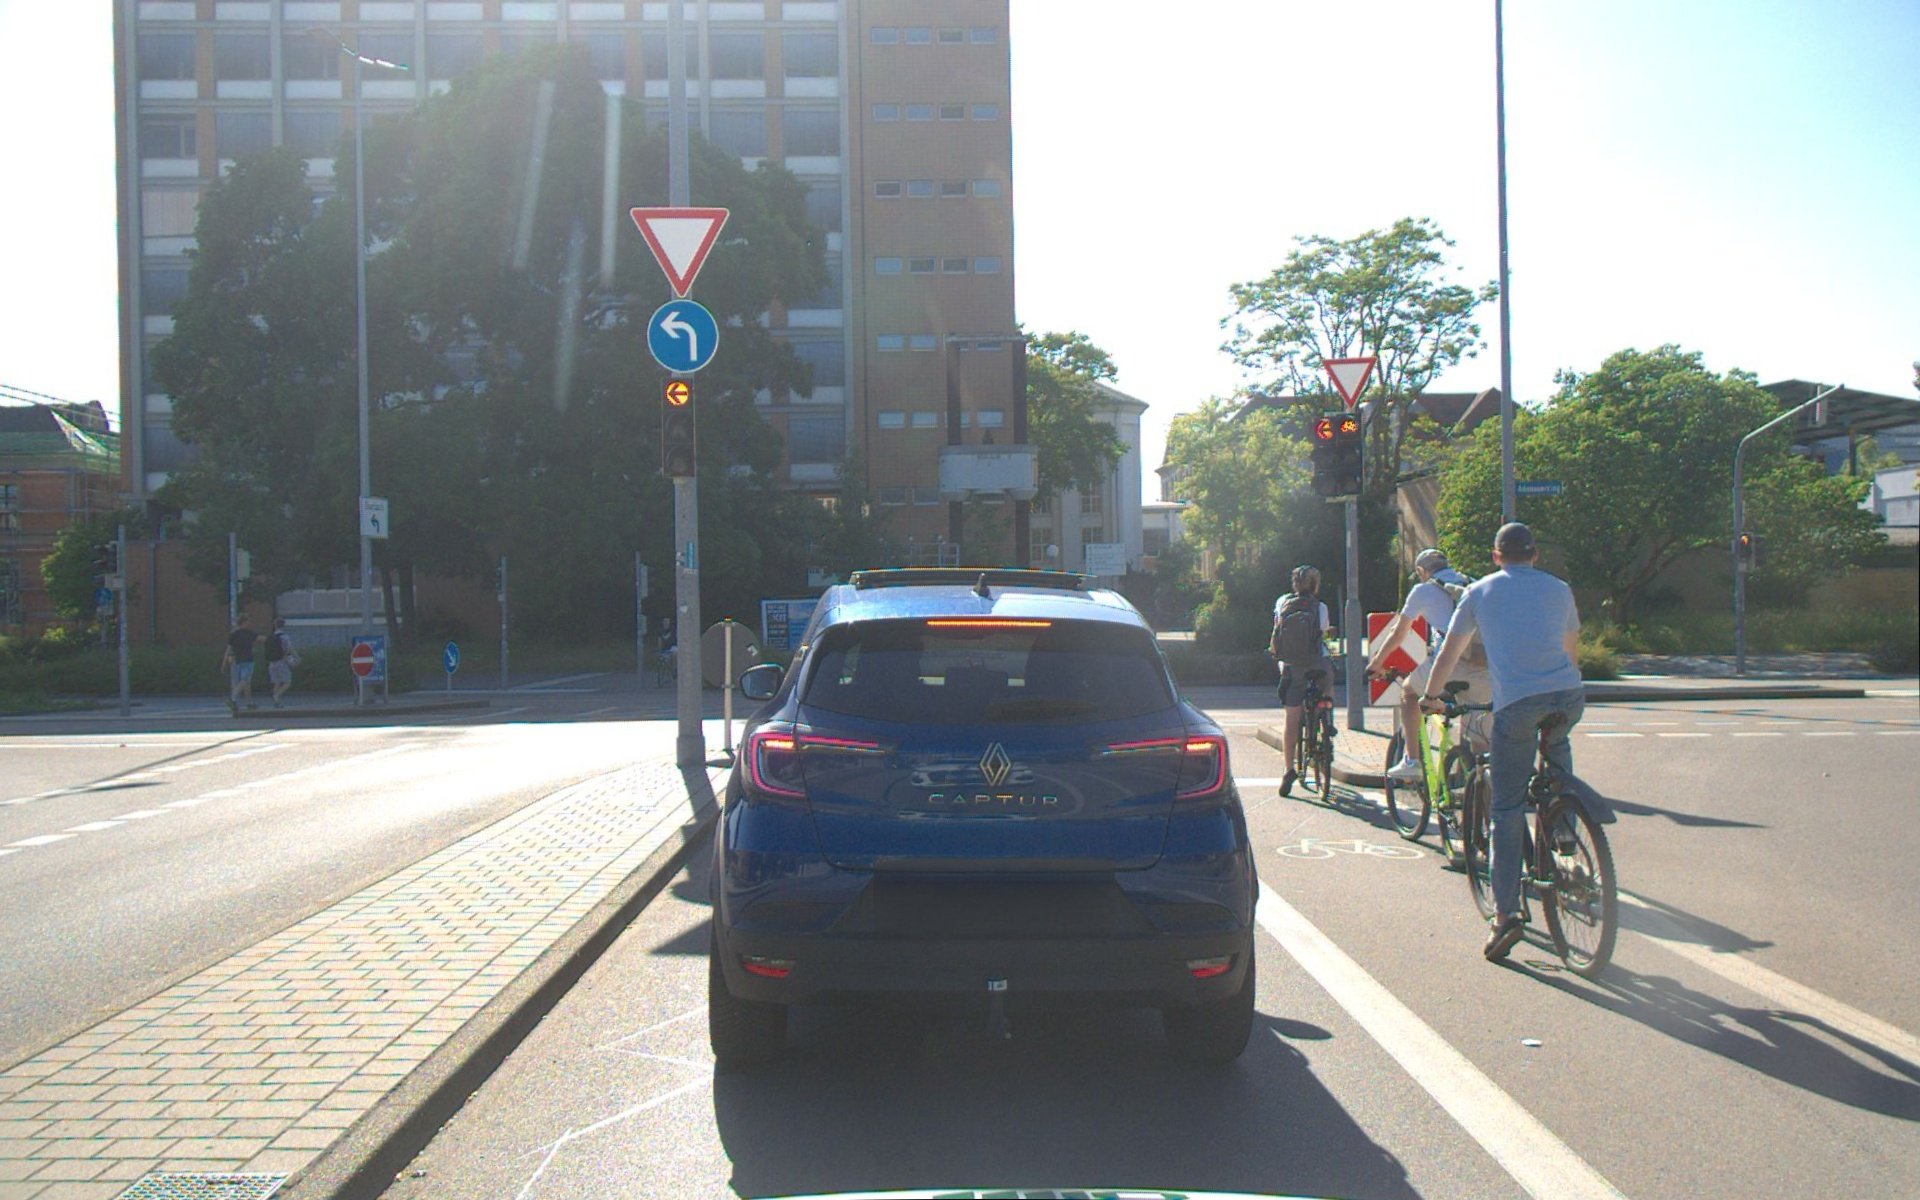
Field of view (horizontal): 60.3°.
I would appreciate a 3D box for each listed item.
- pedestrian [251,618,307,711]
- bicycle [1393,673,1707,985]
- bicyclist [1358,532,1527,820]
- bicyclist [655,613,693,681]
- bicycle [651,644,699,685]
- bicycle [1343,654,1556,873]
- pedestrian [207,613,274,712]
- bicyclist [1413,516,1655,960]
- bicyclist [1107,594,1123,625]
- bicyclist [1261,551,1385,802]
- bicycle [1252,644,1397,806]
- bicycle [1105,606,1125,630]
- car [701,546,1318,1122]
[{"bbox_3d":[-13.159,1.240,31.980,0.666,1.761,0.761,-1,0,13],"label":"pedestrian"},{"bbox_3d":[2.510,0.918,7.286,0.675,1.108,1.922,0,0,-1],"label":"bicycle"},{"bbox_3d":[2.865,0.430,9.915,0.664,1.622,1.142,0,0,-1],"label":"bicyclist"},{"bbox_3d":[-7.542,1.240,43.663,0.739,1.746,0.999,-1,0,5],"label":"bicyclist"},{"bbox_3d":[-7.524,1.696,43.766,0.739,1.002,2.095,-1,0,5],"label":"bicycle"},{"bbox_3d":[2.850,0.908,9.834,0.675,1.108,1.922,0,0,-1],"label":"bicycle"},{"bbox_3d":[-14.010,1.207,32.234,0.796,1.895,0.910,-1,0,13],"label":"pedestrian"},{"bbox_3d":[2.512,0.566,7.363,0.669,1.822,1.142,0,0,-1],"label":"bicyclist"},{"bbox_3d":[7.655,0.458,81.546,0.680,1.507,0.717,-1,0,-2],"label":"bicyclist"},{"bbox_3d":[2.749,0.558,12.612,0.685,1.822,1.142,0,0,-1],"label":"bicyclist"},{"bbox_3d":[2.775,0.922,12.792,0.675,1.108,1.922,0,0,-1],"label":"bicycle"},{"bbox_3d":[7.653,0.894,81.891,0.680,1.160,2.440,-1,0,-1],"label":"bicycle"},{"bbox_3d":[0.060,0.661,6.640,1.753,1.613,3.912,0,0,-3],"label":"car"}]
